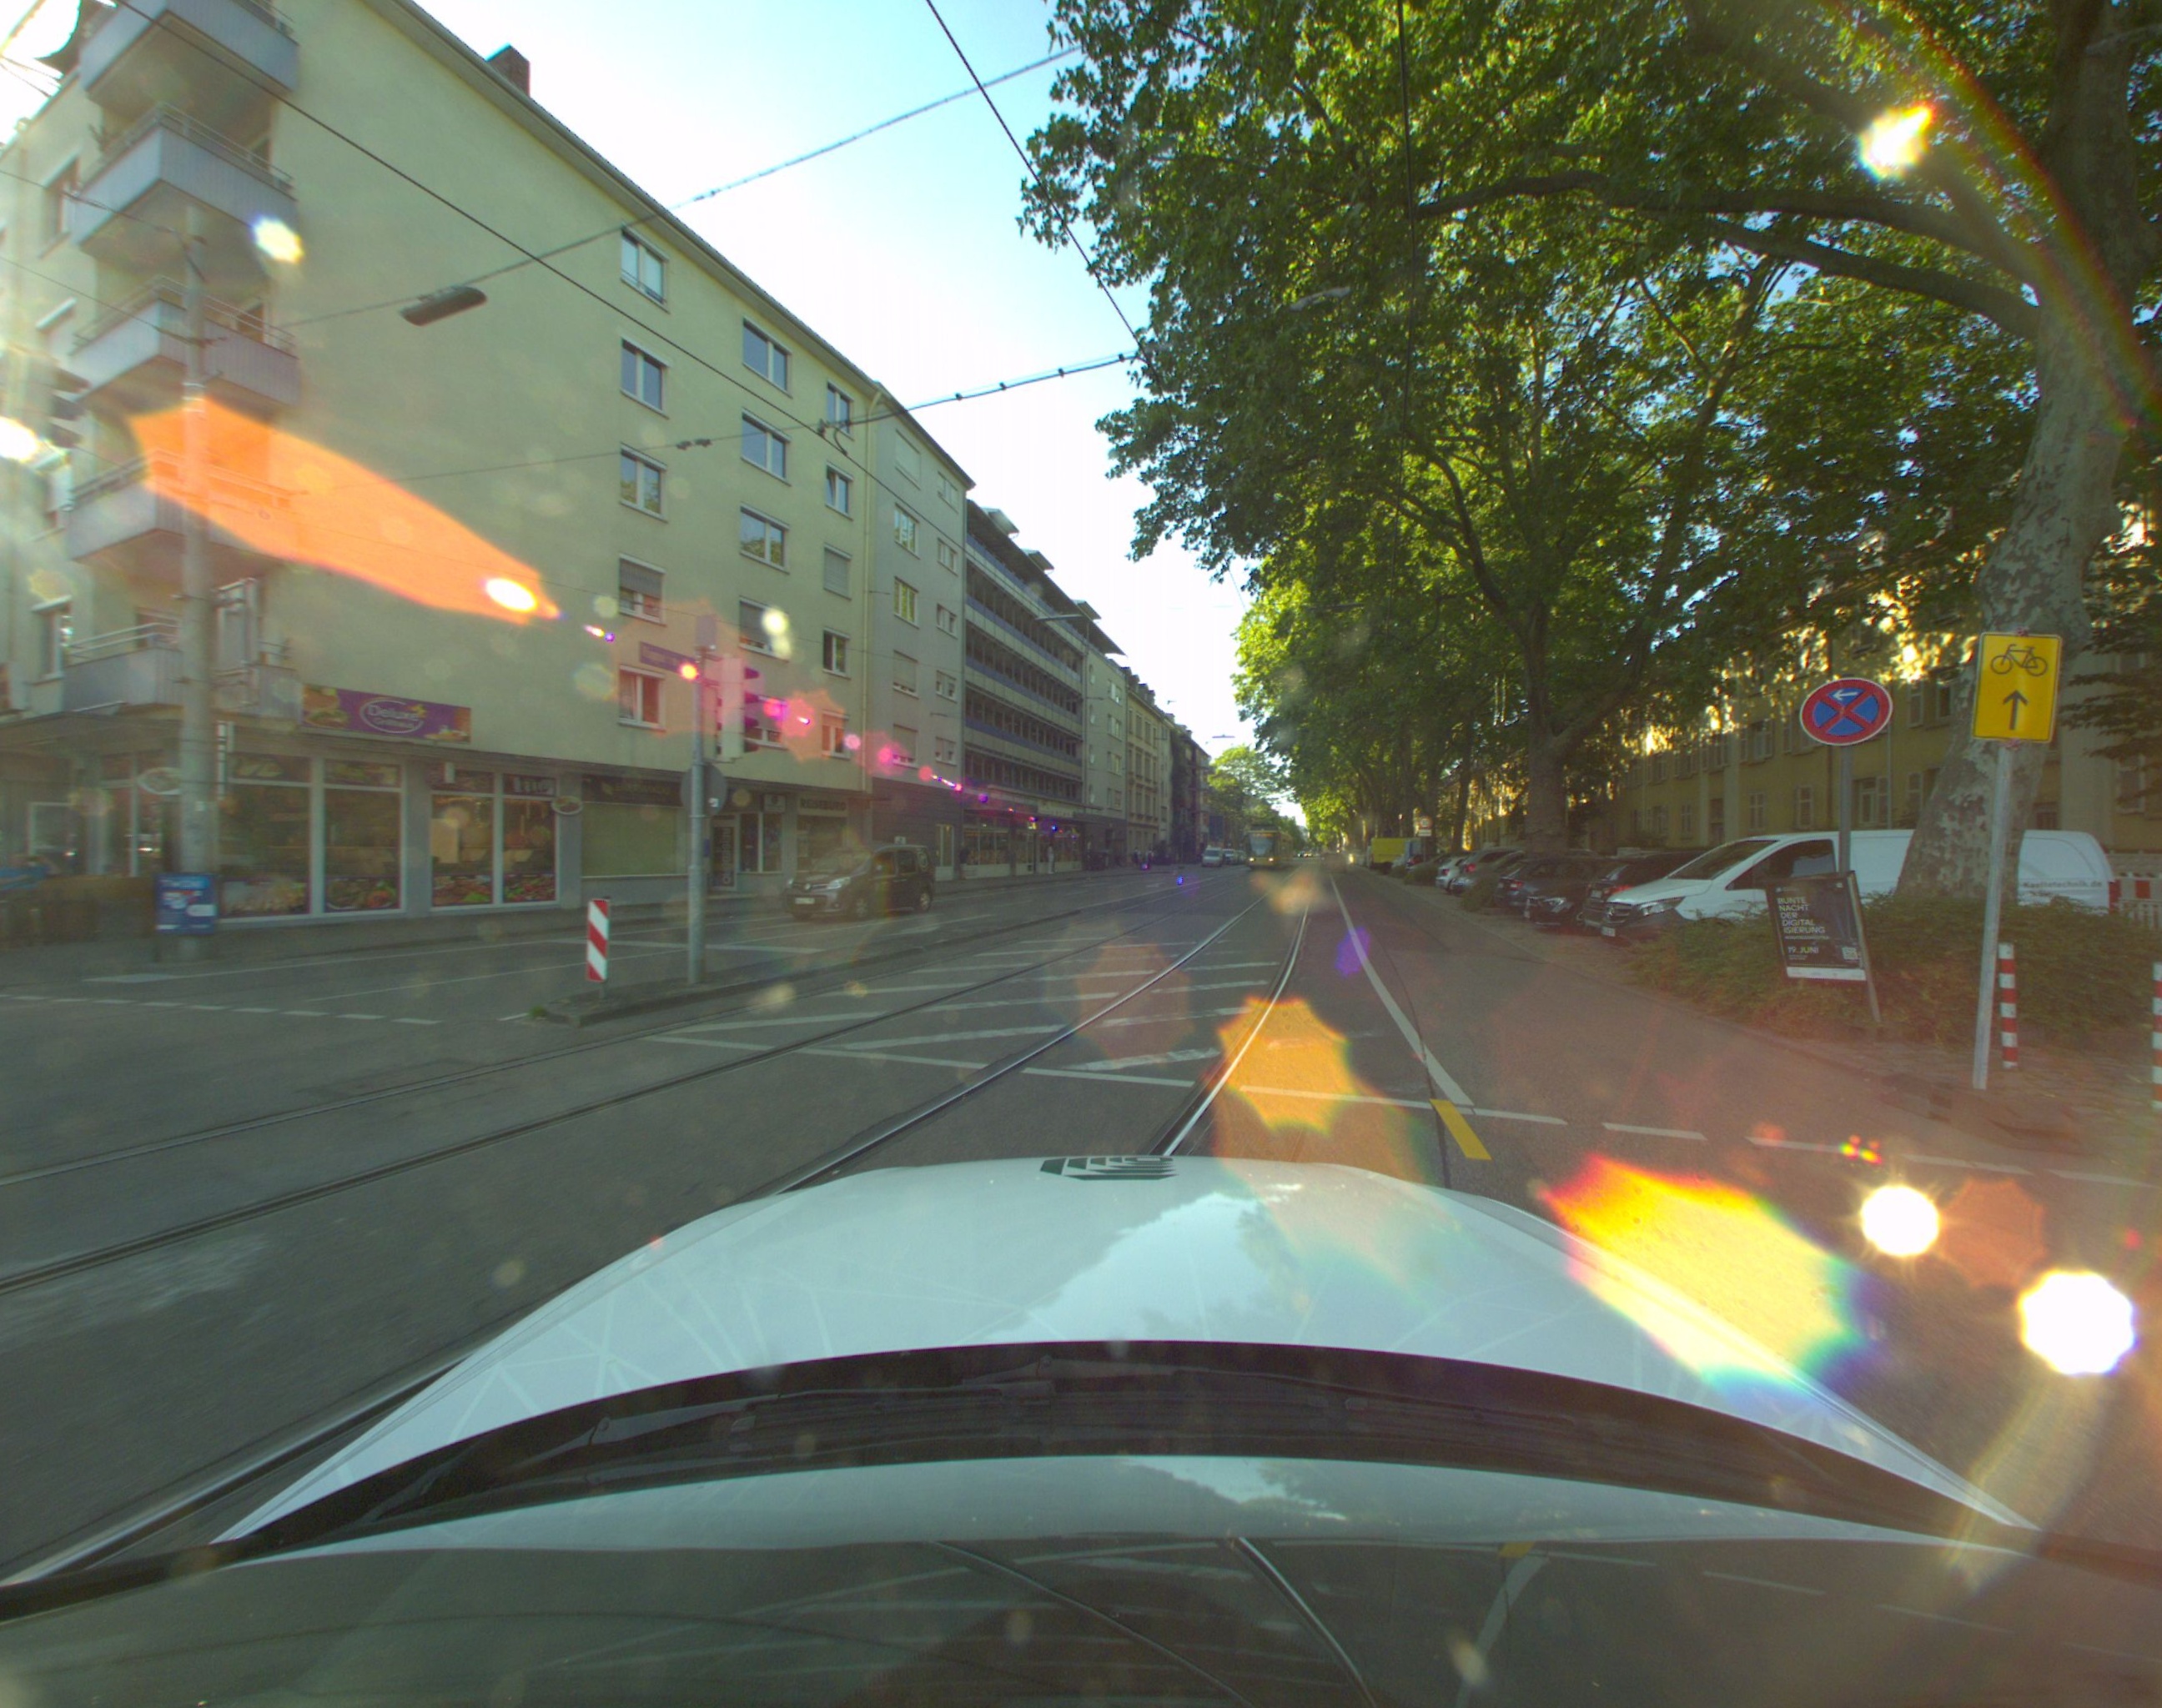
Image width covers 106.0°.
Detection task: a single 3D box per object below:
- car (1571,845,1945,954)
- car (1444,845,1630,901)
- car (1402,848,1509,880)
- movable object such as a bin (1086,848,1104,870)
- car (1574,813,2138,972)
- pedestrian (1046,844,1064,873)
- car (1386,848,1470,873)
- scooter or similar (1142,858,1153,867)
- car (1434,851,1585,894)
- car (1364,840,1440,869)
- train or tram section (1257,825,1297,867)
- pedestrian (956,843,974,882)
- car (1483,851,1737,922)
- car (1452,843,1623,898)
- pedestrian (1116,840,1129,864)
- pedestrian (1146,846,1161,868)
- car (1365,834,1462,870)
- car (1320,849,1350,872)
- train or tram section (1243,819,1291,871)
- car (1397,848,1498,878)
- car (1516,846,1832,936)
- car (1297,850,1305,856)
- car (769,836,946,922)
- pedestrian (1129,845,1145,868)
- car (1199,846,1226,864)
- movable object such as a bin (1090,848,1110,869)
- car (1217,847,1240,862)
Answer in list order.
[{"bbox_3d":[10.869,0.660,13.510,4.372,1.602,1.951,0,0,17],"label":"car"},{"bbox_3d":[13.793,0.546,24.936,4.675,1.602,1.928,0,0,17],"label":"car"},{"bbox_3d":[18.953,0.489,41.380,4.678,1.534,1.927,0,0,14],"label":"car"},{"bbox_3d":[0.950,0.335,54.815,1.006,1.428,1.148,0,0,12],"label":"movable object such as a bin"},{"bbox_3d":[9.903,0.519,11.010,5.181,1.826,1.938,-1,-1,16],"label":"car"},{"bbox_3d":[-1.522,0.238,47.298,1.027,1.662,1.226,0,0,-2],"label":"pedestrian"},{"bbox_3d":[22.050,0.389,51.913,4.677,1.534,1.927,0,0,15],"label":"car"},{"bbox_3d":[4.764,0.597,58.452,0.619,0.648,0.769,0,0,17],"label":"scooter or similar"},{"bbox_3d":[15.793,0.657,30.296,4.676,1.534,1.928,0,0,16],"label":"car"},{"bbox_3d":[25.085,0.053,63.813,5.400,2.192,2.070,0,0,17],"label":"car"},{"bbox_3d":[18.591,-0.726,76.622,2.810,3.638,12.874,0,0,17],"label":"train or tram section"},{"bbox_3d":[-4.883,0.364,34.384,0.660,1.648,0.625,0,0,1],"label":"pedestrian"},{"bbox_3d":[11.939,0.685,18.730,4.552,1.506,1.927,0,0,14],"label":"car"},{"bbox_3d":[15.044,0.528,27.125,4.676,1.722,1.928,0,0,16],"label":"car"},{"bbox_3d":[3.279,-0.131,64.161,0.892,1.864,0.786,0,0,-11],"label":"pedestrian"},{"bbox_3d":[5.260,0.207,59.247,0.885,1.624,1.039,0,0,17],"label":"pedestrian"},{"bbox_3d":[22.151,-0.134,54.562,5.899,2.366,2.070,0,0,17],"label":"car"},{"bbox_3d":[17.959,0.484,57.560,1.879,1.564,4.412,-2,-1,17],"label":"car"},{"bbox_3d":[14.828,-0.687,64.120,2.839,3.638,13.256,0,0,17],"label":"train or tram section"},{"bbox_3d":[19.687,0.467,43.948,4.679,1.534,1.927,0,0,14],"label":"car"},{"bbox_3d":[11.360,0.653,16.033,4.675,1.602,1.928,0,0,17],"label":"car"},{"bbox_3d":[58.157,-0.368,215.274,1.980,1.509,4.014,0,0,12],"label":"car"},{"bbox_3d":[-5.185,0.508,19.583,1.893,1.806,4.384,0,0,20],"label":"car"},{"bbox_3d":[4.067,0.196,59.063,0.885,1.624,1.039,0,0,17],"label":"pedestrian"},{"bbox_3d":[11.985,0.071,74.094,1.879,1.564,4.411,0,0,16],"label":"car"},{"bbox_3d":[1.318,0.301,56.211,1.005,1.428,1.262,0,0,17],"label":"movable object such as a bin"},{"bbox_3d":[15.255,0.024,84.213,1.879,1.564,4.411,0,0,16],"label":"car"}]
